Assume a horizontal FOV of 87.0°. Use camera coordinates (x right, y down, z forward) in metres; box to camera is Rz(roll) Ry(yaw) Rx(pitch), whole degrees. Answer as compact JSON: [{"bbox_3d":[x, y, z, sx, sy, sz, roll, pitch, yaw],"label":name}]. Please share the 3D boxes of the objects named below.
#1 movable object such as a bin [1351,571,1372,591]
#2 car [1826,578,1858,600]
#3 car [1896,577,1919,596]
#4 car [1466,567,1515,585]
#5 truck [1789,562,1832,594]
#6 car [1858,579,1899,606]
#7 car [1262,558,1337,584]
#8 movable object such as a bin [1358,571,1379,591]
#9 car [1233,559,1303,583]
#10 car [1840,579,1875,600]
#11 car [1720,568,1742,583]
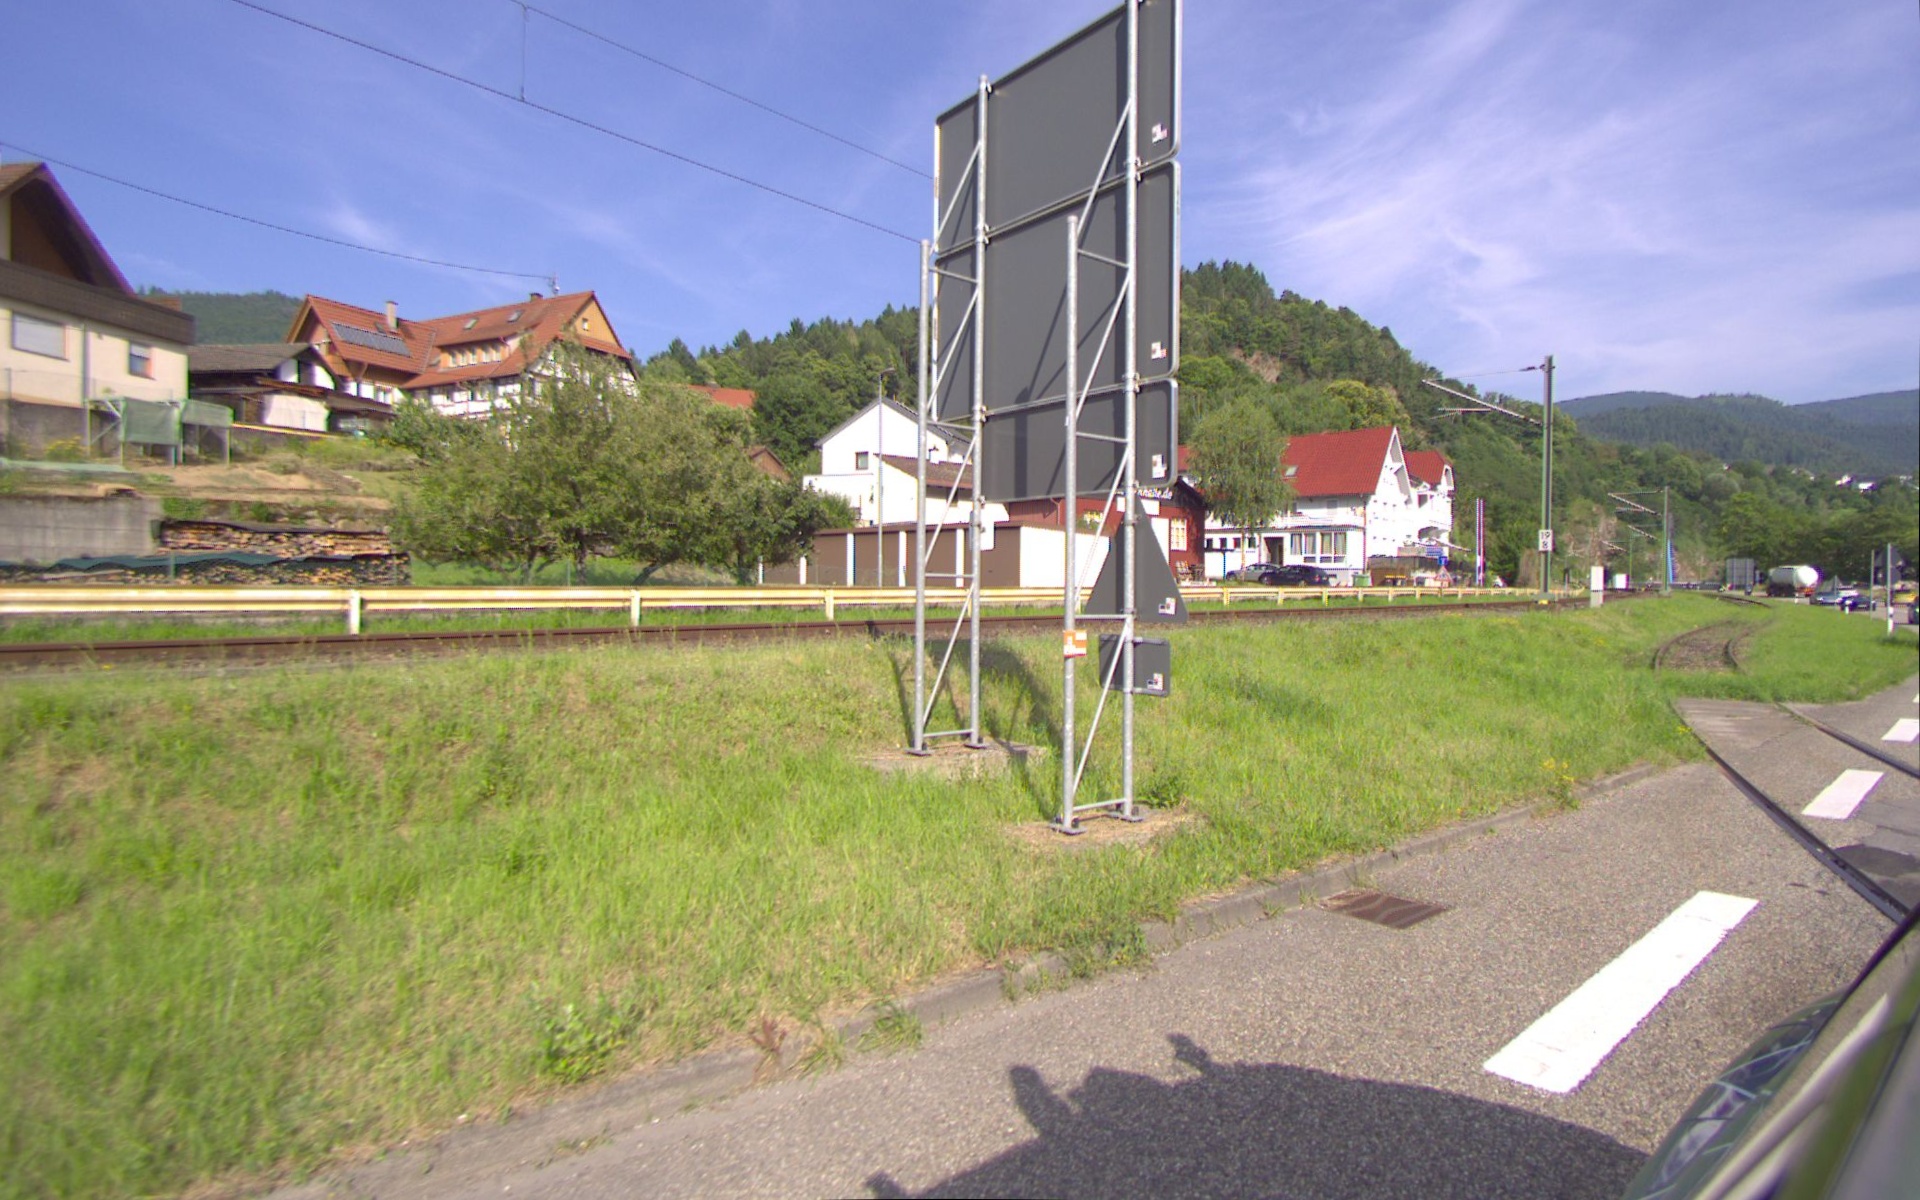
[{"bbox_3d":[22.038,-1.041,55.514,0.807,1.064,0.898,-2,-1,42],"label":"movable object such as a bin"},{"bbox_3d":[84.531,-1.055,97.037,1.990,2.038,3.945,3,2,38],"label":"car"},{"bbox_3d":[83.373,-1.199,88.738,1.722,1.645,3.739,-1,-1,41],"label":"car"},{"bbox_3d":[50.930,-2.287,97.201,3.973,1.549,1.976,3,1,34],"label":"car"},{"bbox_3d":[109.346,-2.817,130.305,2.740,3.884,14.382,-1,0,34],"label":"truck"},{"bbox_3d":[73.166,-0.610,80.674,1.990,2.038,3.945,3,2,38],"label":"car"},{"bbox_3d":[20.876,-1.798,62.338,1.796,1.393,3.990,0,3,-45],"label":"car"},{"bbox_3d":[22.716,-1.036,56.290,0.807,1.064,0.898,-2,-1,42],"label":"movable object such as a bin"},{"bbox_3d":[20.317,-1.942,66.815,3.987,1.393,1.797,5,3,43],"label":"car"},{"bbox_3d":[94.560,-1.124,106.647,1.985,2.038,3.955,3,2,32],"label":"car"},{"bbox_3d":[113.144,-3.573,148.610,1.983,2.038,3.958,3,2,30],"label":"car"}]
